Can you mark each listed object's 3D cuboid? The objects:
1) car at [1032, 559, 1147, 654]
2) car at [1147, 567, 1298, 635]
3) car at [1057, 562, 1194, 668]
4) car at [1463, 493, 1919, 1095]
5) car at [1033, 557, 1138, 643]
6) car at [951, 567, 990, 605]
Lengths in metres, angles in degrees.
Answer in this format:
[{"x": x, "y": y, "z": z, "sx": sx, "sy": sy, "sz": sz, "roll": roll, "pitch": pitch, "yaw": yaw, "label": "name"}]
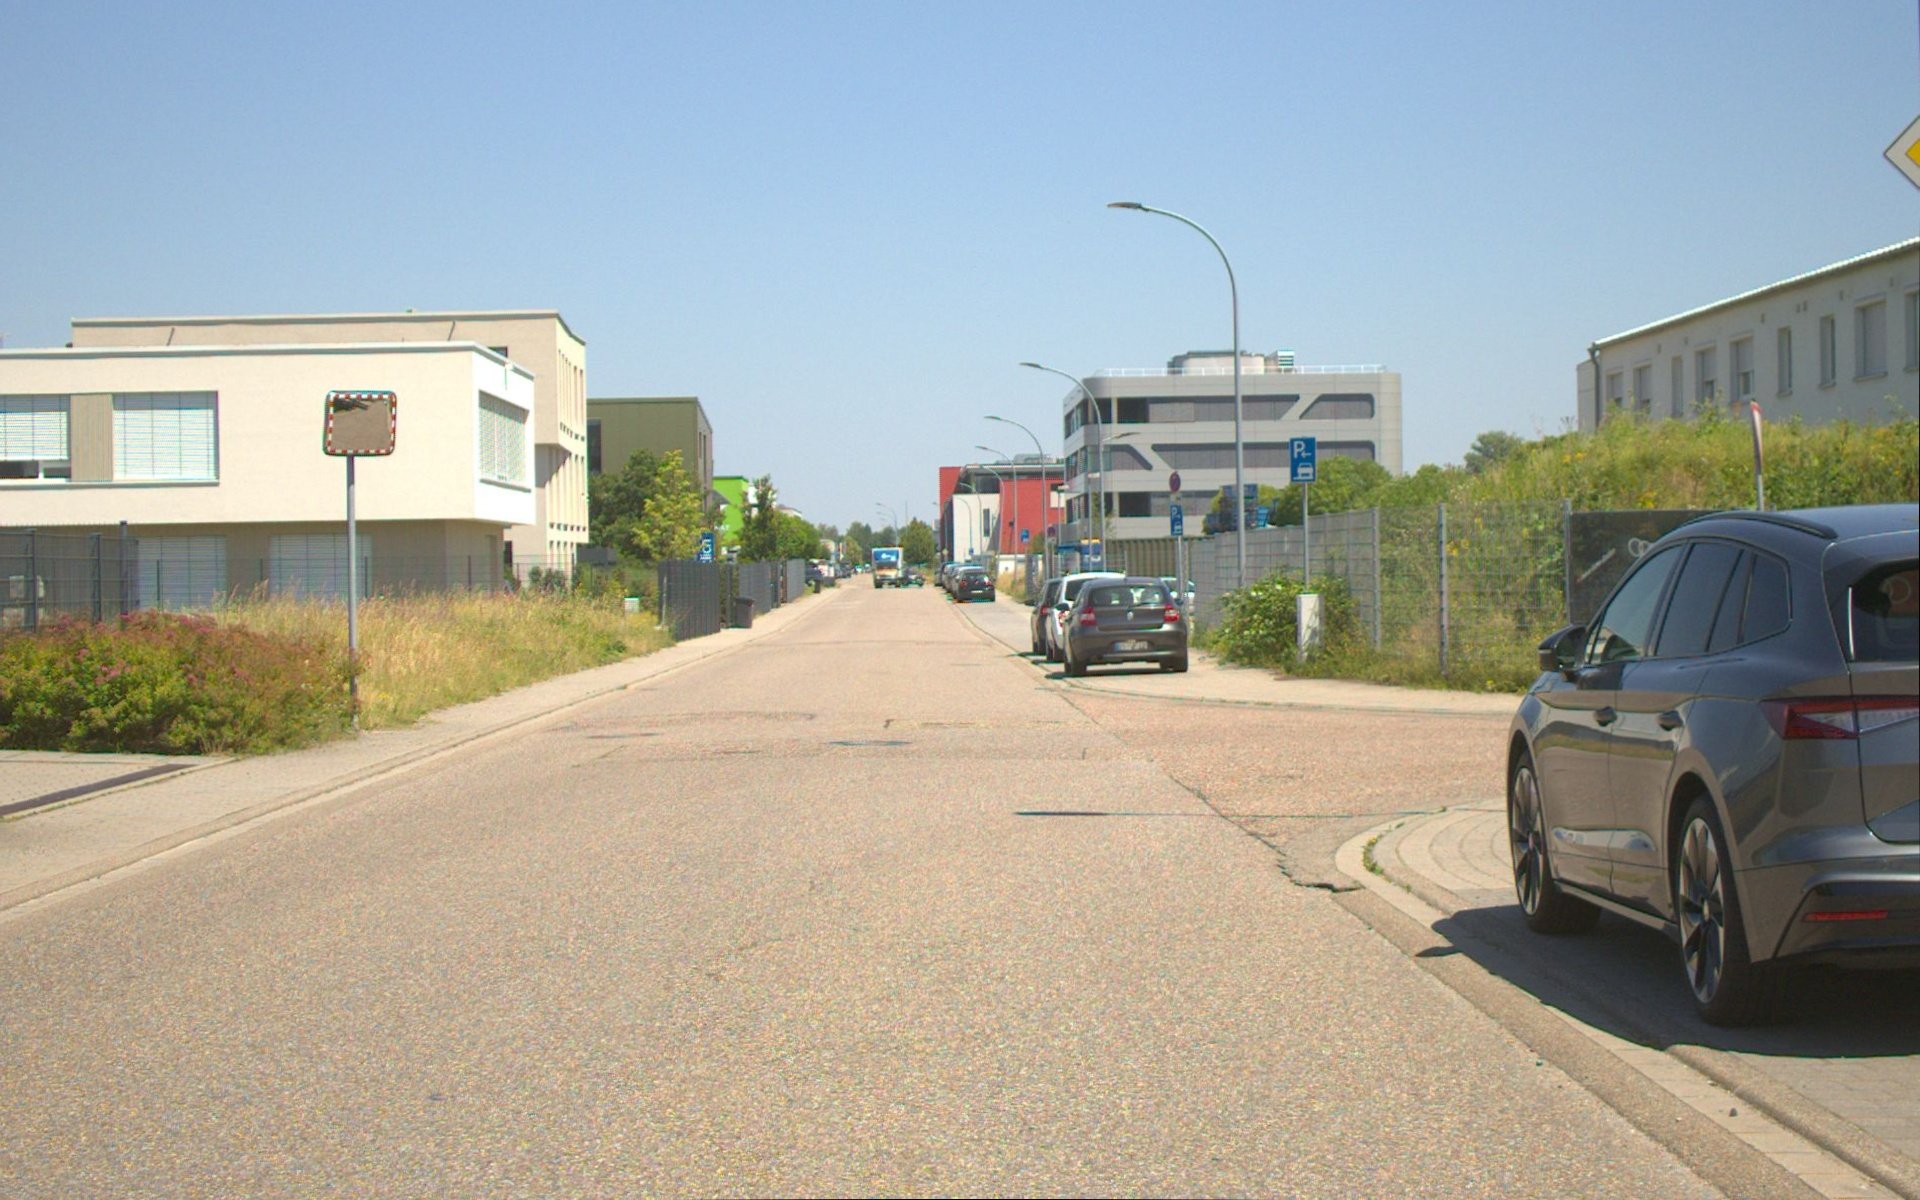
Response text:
[{"x": 2.271, "y": 0.082, "z": 60.662, "sx": 1.908, "sy": 1.541, "sz": 4.000, "roll": -2, "pitch": 1, "yaw": 2, "label": "car"}, {"x": 8.228, "y": 0.018, "z": 108.148, "sx": 4.625, "sy": 2.007, "sz": 2.606, "roll": 1, "pitch": 1, "yaw": 3, "label": "car"}, {"x": 2.436, "y": 0.194, "z": 51.279, "sx": 1.908, "sy": 1.443, "sz": 4.000, "roll": -2, "pitch": 1, "yaw": 2, "label": "car"}, {"x": 3.098, "y": 0.474, "z": 11.951, "sx": 1.803, "sy": 1.656, "sz": 4.609, "roll": -3, "pitch": 1, "yaw": -2, "label": "car"}, {"x": 2.418, "y": -0.027, "z": 66.594, "sx": 1.908, "sy": 1.541, "sz": 4.000, "roll": -2, "pitch": 1, "yaw": 2, "label": "car"}, {"x": 0.485, "y": -0.663, "z": 162.154, "sx": 1.776, "sy": 1.722, "sz": 4.000, "roll": 1, "pitch": 1, "yaw": -1, "label": "car"}]
